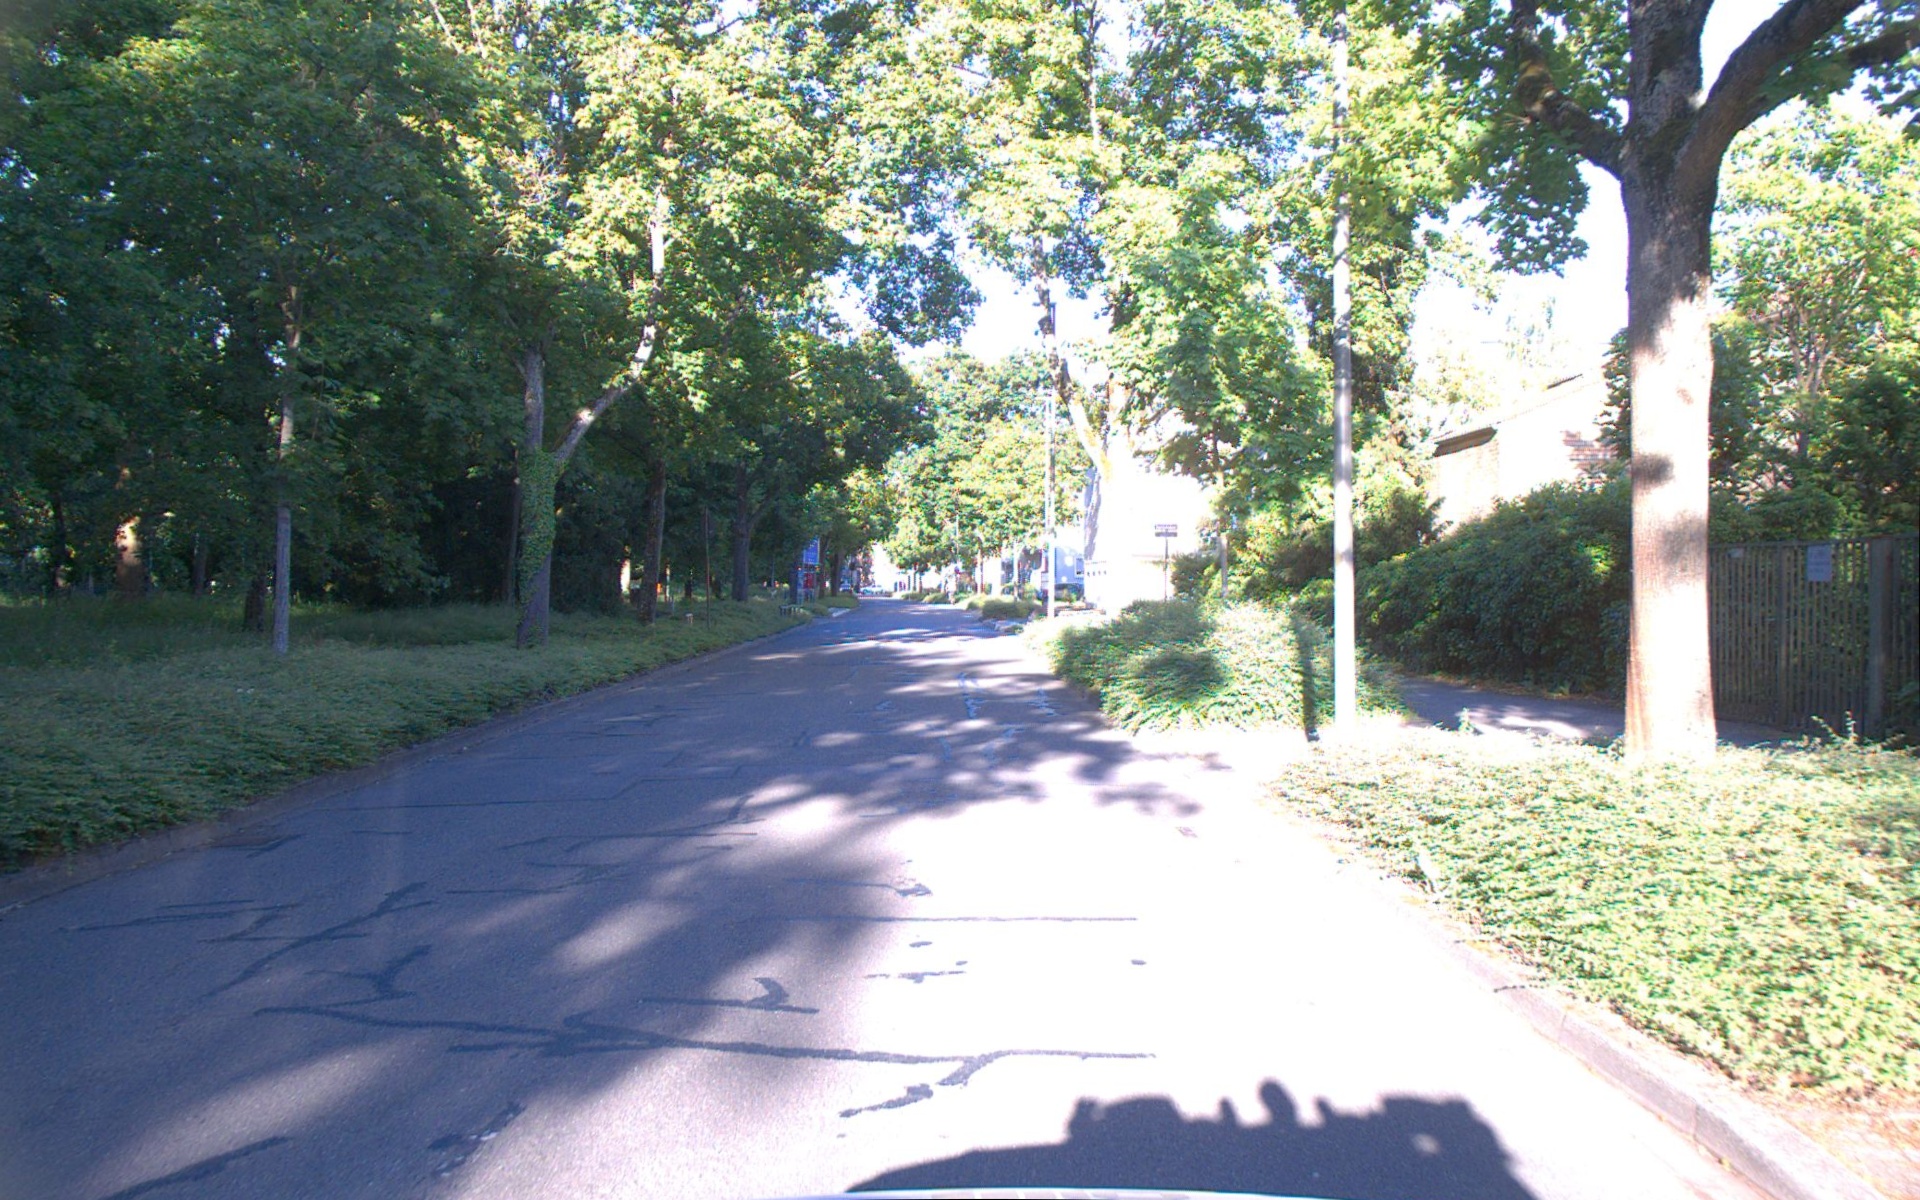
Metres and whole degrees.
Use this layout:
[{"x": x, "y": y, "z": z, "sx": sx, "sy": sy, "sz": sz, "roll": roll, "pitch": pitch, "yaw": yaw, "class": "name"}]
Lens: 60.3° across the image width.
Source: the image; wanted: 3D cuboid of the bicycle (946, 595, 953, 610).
[{"x": -0.711, "y": 0.167, "z": 110.816, "sx": 0.430, "sy": 0.995, "sz": 1.661, "roll": 0, "pitch": 2, "yaw": -1, "class": "bicycle"}]

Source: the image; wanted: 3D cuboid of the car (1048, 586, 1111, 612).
[{"x": 8.314, "y": -0.074, "z": 114.973, "sx": 4.259, "sy": 1.377, "sz": 2.146, "roll": 4, "pitch": 4, "yaw": 5, "class": "car"}]

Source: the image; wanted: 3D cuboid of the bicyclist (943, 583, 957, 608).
[{"x": -0.675, "y": -0.297, "z": 110.808, "sx": 0.849, "sy": 1.669, "sz": 1.114, "roll": 1, "pitch": 1, "yaw": -1, "class": "bicyclist"}]

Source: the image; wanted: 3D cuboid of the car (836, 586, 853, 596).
[{"x": -15.903, "y": -1.224, "z": 227.168, "sx": 1.958, "sy": 1.378, "sz": 3.532, "roll": 1, "pitch": 0, "yaw": -11, "class": "car"}]
